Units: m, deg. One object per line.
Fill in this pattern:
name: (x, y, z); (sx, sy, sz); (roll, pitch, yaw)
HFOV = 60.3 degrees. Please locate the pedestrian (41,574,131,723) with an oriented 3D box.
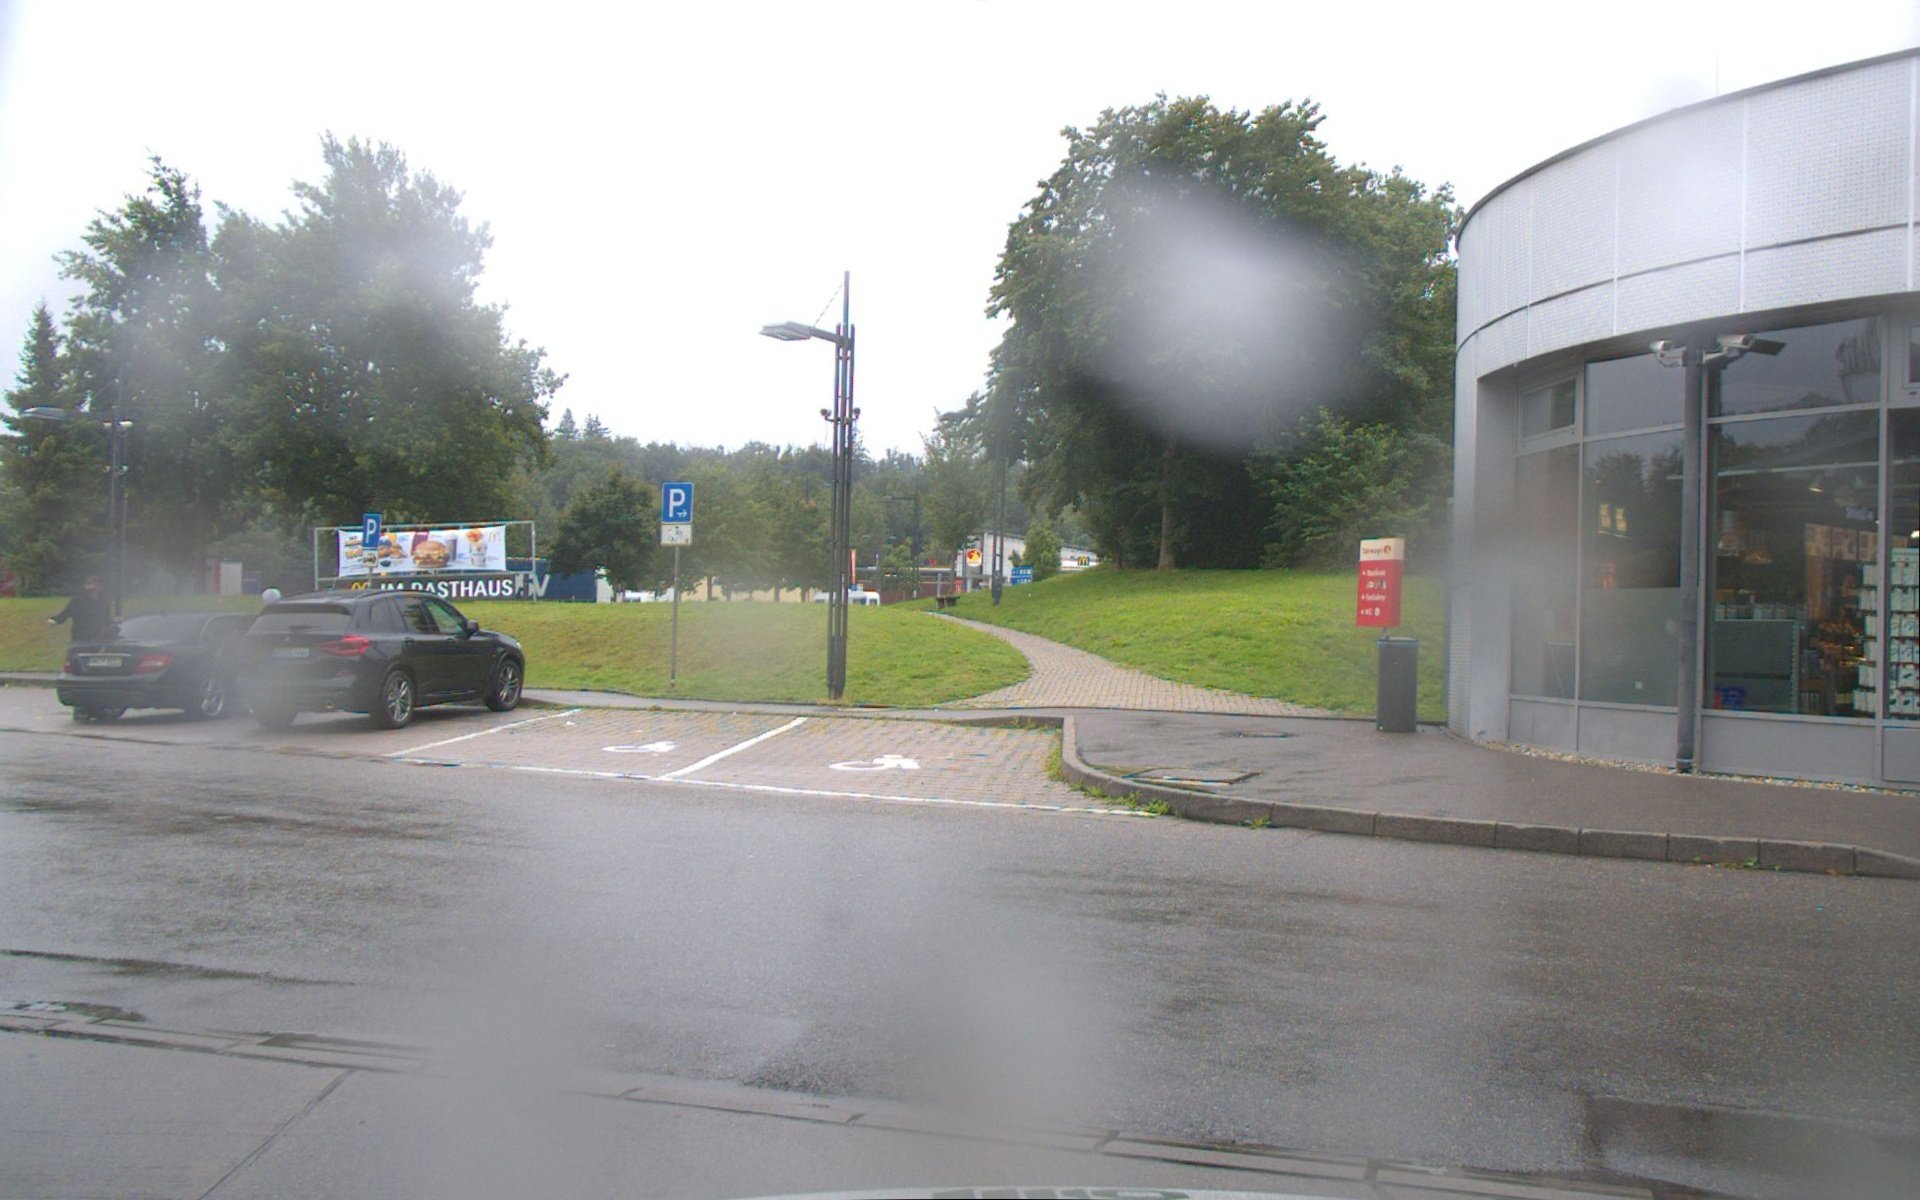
pedestrian: (-11.591, 0.625, 21.935); (0.875, 1.920, 0.701); (1, -1, 35)

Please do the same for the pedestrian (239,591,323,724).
pedestrian: (-8.707, 0.721, 21.209); (0.939, 1.660, 0.698); (1, -1, -26)

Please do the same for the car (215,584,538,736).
car: (-7.364, 0.690, 21.403); (1.973, 1.741, 4.347); (-1, 1, 11)

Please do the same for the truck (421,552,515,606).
truck: (-27.971, -1.175, 94.289); (2.142, 2.971, 5.384); (1, 0, 24)

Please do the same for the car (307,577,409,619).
car: (-27.702, -0.076, 76.179); (4.092, 1.814, 1.820); (1, 0, -37)

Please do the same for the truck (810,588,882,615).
truck: (-9.219, 0.132, 133.699); (5.298, 2.049, 2.366); (1, 0, 24)

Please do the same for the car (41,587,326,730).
car: (-10.571, 0.717, 22.922); (1.976, 1.741, 4.342); (-1, 1, -2)

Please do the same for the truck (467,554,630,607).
truck: (-24.919, -1.092, 101.303); (2.142, 2.971, 13.092); (1, 0, 23)
